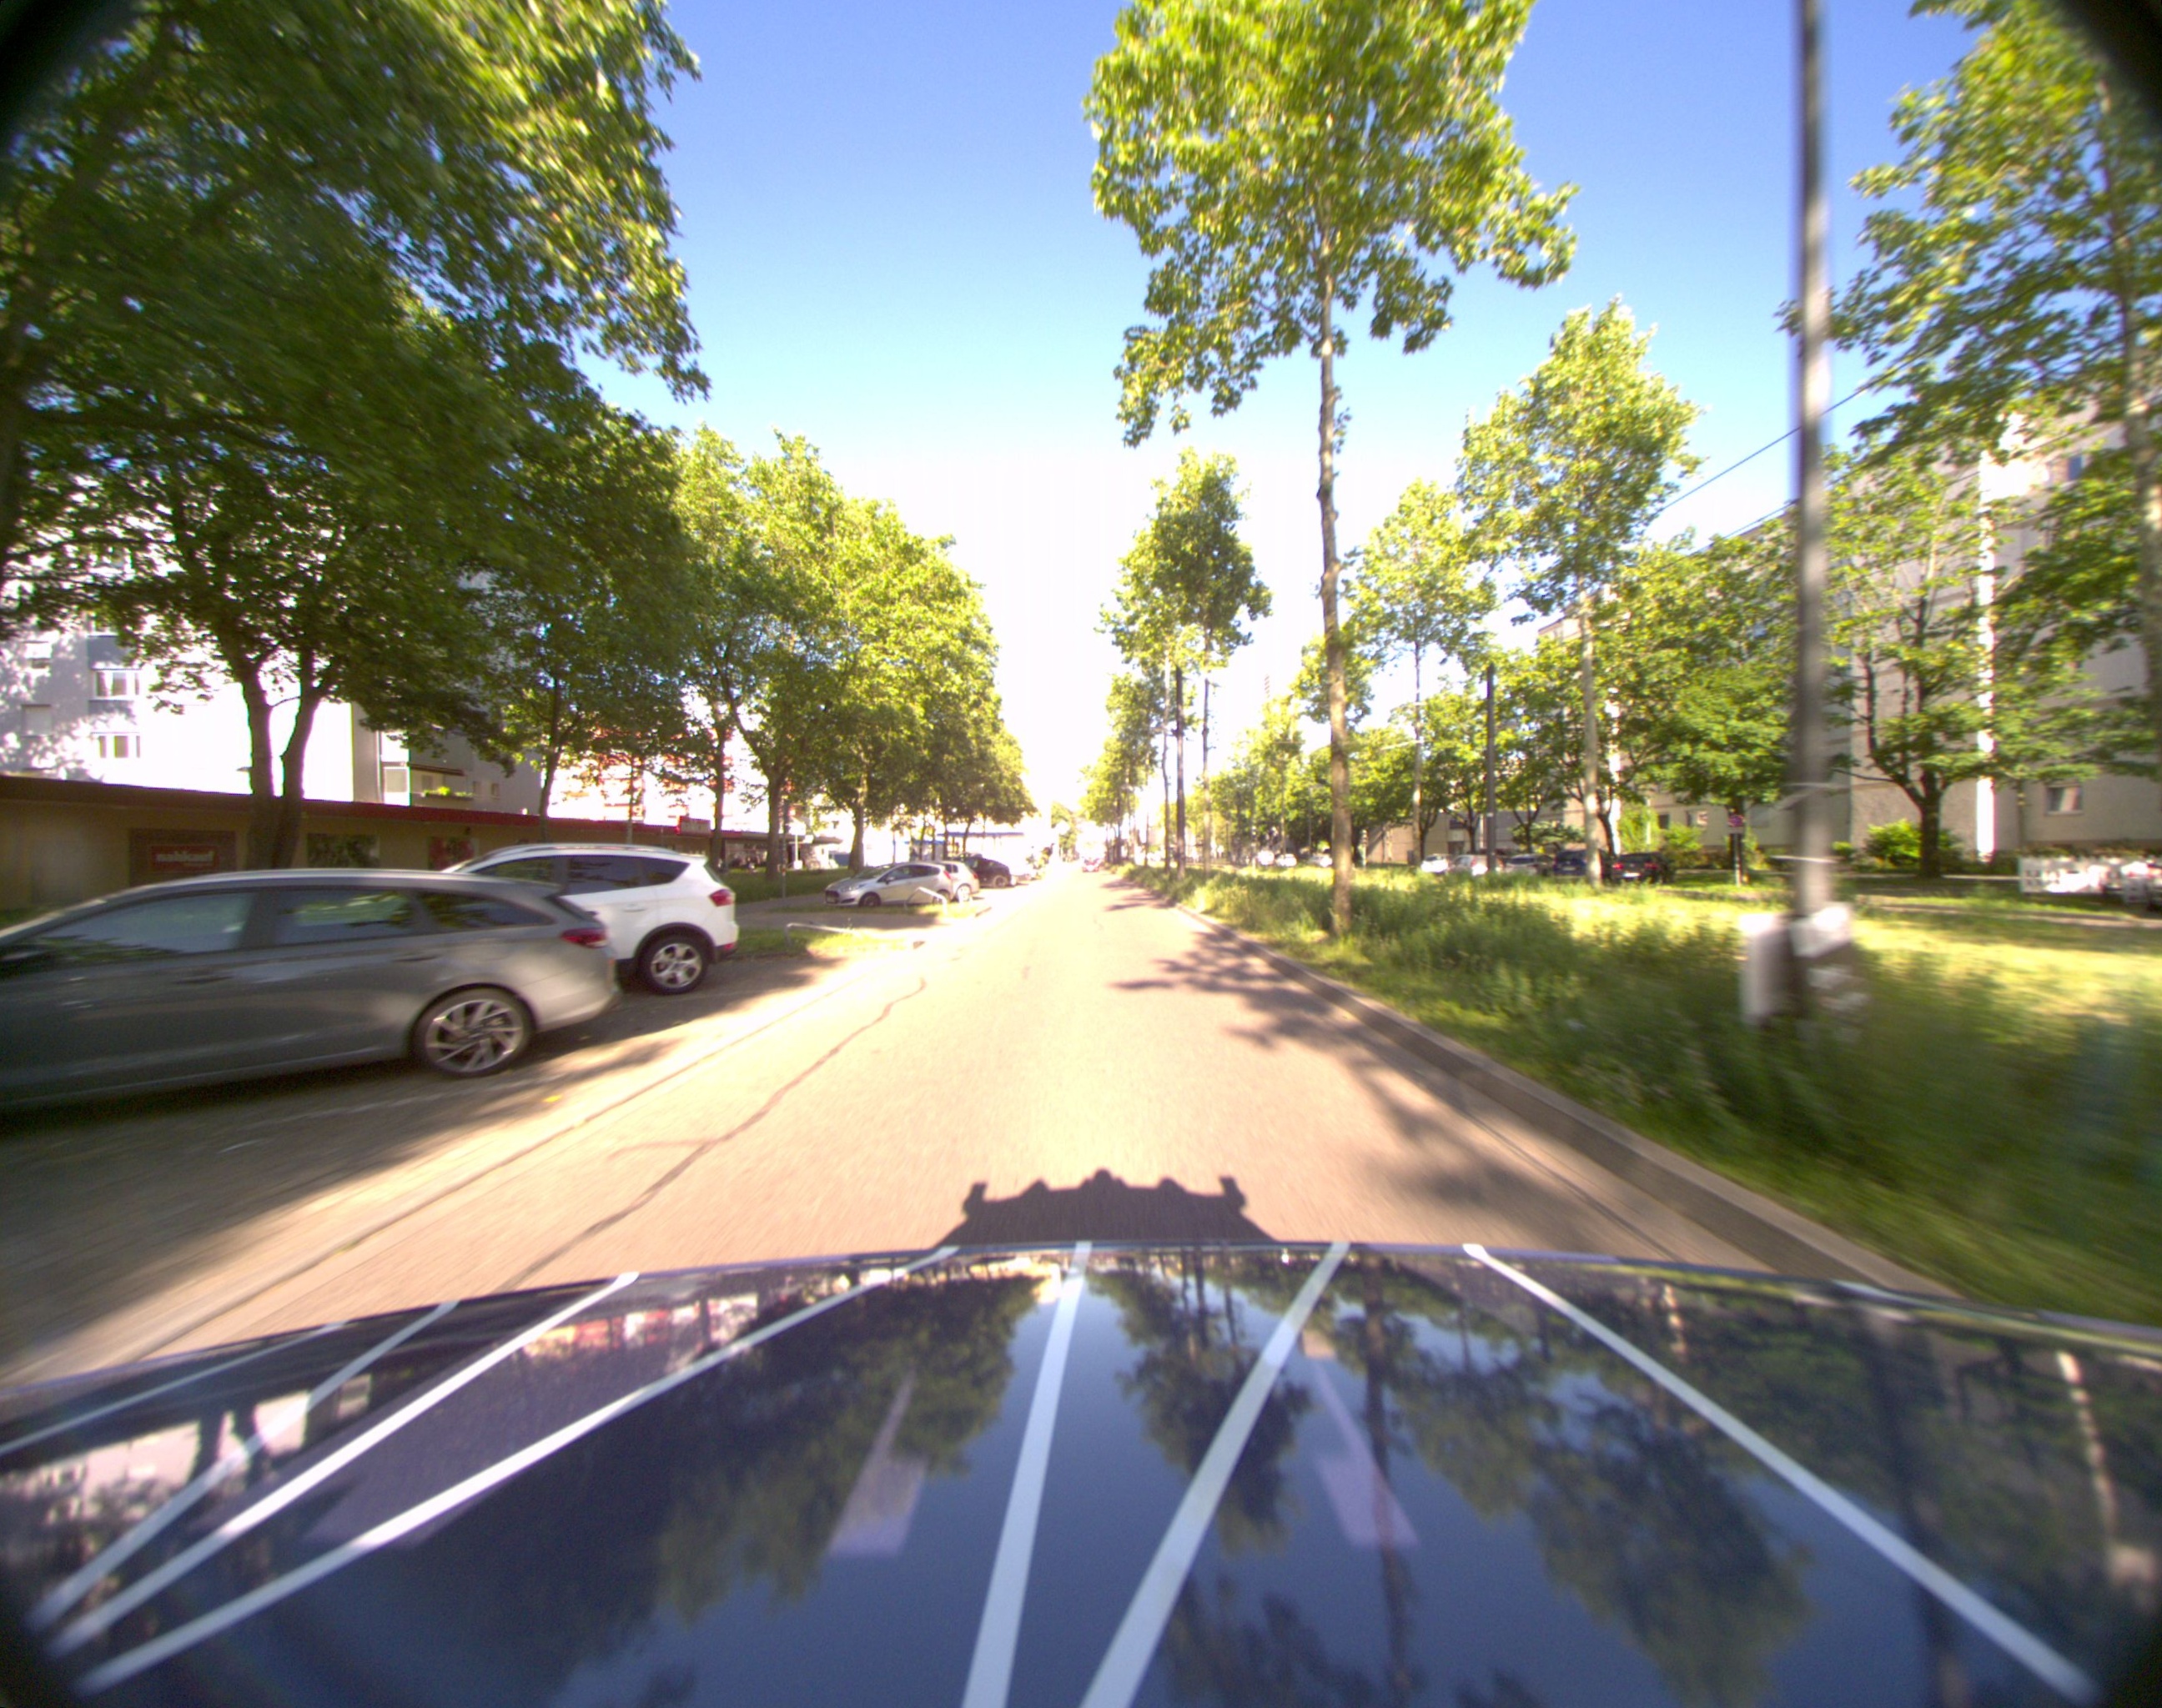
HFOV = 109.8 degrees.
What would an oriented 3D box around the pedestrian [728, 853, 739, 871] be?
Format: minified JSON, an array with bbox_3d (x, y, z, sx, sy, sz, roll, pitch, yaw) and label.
[{"bbox_3d":[-26.843,0.613,58.670,0.533,1.422,0.715,-1,0,-4],"label":"pedestrian"}]

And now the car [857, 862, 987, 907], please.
[{"bbox_3d":[-5.552,1.027,26.858,4.194,1.404,1.715,0,1,-42],"label":"car"}]

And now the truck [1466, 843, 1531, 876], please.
[{"bbox_3d":[24.167,0.296,43.932,4.092,1.765,1.647,-1,0,-35],"label":"truck"}]

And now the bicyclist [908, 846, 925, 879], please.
[{"bbox_3d":[-8.691,0.435,40.258,0.624,1.730,1.023,-1,1,1],"label":"bicyclist"}]

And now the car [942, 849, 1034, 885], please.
[{"bbox_3d":[-5.003,0.681,41.092,4.680,1.842,1.825,0,1,-39],"label":"car"}]

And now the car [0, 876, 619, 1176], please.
[{"bbox_3d":[-5.522,0.944,5.192,3.795,1.462,1.646,0,1,-42],"label":"car"}]

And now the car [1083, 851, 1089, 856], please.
[{"bbox_3d":[1.545,-0.150,249.496,1.998,1.806,4.000,-2,0,0],"label":"car"}]

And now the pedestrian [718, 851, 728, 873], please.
[{"bbox_3d":[-27.368,0.633,58.096,0.496,1.690,0.715,-1,0,-4],"label":"pedestrian"}]

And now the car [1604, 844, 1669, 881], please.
[{"bbox_3d":[24.452,0.351,33.387,1.647,1.466,4.093,-6,-4,44],"label":"car"}]

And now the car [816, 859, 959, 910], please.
[{"bbox_3d":[-5.773,0.861,22.990,3.947,1.365,1.583,0,1,-45],"label":"car"}]

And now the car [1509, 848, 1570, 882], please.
[{"bbox_3d":[24.313,0.549,40.249,4.093,1.637,1.646,-1,2,-42],"label":"car"}]

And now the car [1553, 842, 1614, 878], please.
[{"bbox_3d":[24.566,0.294,37.099,4.094,1.636,1.647,-1,-2,-45],"label":"car"}]

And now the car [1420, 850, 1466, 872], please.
[{"bbox_3d":[24.655,0.437,51.719,1.835,1.426,3.833,0,0,42],"label":"car"}]

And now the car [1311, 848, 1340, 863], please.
[{"bbox_3d":[24.874,0.154,77.292,1.718,1.537,4.201,-1,0,2],"label":"car"}]

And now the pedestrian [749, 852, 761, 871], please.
[{"bbox_3d":[-27.893,0.616,64.996,0.673,1.575,0.715,-1,0,-4],"label":"pedestrian"}]

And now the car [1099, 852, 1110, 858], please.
[{"bbox_3d":[5.890,0.225,191.909,1.545,1.522,3.597,-3,1,-19],"label":"car"}]

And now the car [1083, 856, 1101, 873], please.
[{"bbox_3d":[1.096,0.974,74.899,1.619,1.537,4.277,-1,0,2],"label":"car"}]

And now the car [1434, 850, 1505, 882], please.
[{"bbox_3d":[19.615,0.563,38.513,1.650,1.477,3.849,0,1,0],"label":"car"}]

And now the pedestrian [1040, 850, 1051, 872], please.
[{"bbox_3d":[-3.037,0.626,65.055,0.799,1.874,0.928,-1,1,5],"label":"pedestrian"}]

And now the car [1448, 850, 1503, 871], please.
[{"bbox_3d":[25.043,0.389,48.162,3.833,1.239,1.835,-1,0,-41],"label":"car"}]

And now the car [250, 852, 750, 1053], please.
[{"bbox_3d":[-6.045,0.835,8.410,4.036,1.695,1.756,0,1,-40],"label":"car"}]

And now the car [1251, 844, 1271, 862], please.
[{"bbox_3d":[23.779,-0.141,100.696,1.718,2.249,3.933,-1,0,0],"label":"car"}]

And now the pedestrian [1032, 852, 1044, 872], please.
[{"bbox_3d":[-3.561,0.654,62.897,0.714,1.696,0.652,0,1,-33],"label":"pedestrian"}]

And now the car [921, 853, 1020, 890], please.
[{"bbox_3d":[-5.350,0.794,37.007,4.512,1.695,1.756,0,1,-40],"label":"car"}]

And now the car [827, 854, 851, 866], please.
[{"bbox_3d":[-31.466,0.754,98.880,1.874,1.495,4.113,-1,0,0],"label":"car"}]

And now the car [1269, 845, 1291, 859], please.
[{"bbox_3d":[23.339,-0.211,89.175,1.718,1.537,3.934,-1,0,4],"label":"car"}]

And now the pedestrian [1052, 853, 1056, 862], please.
[{"bbox_3d":[-5.069,0.645,142.100,0.605,1.692,0.552,-1,1,5],"label":"pedestrian"}]

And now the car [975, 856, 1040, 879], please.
[{"bbox_3d":[-4.935,0.928,51.235,4.005,1.461,1.756,1,0,-30],"label":"car"}]
